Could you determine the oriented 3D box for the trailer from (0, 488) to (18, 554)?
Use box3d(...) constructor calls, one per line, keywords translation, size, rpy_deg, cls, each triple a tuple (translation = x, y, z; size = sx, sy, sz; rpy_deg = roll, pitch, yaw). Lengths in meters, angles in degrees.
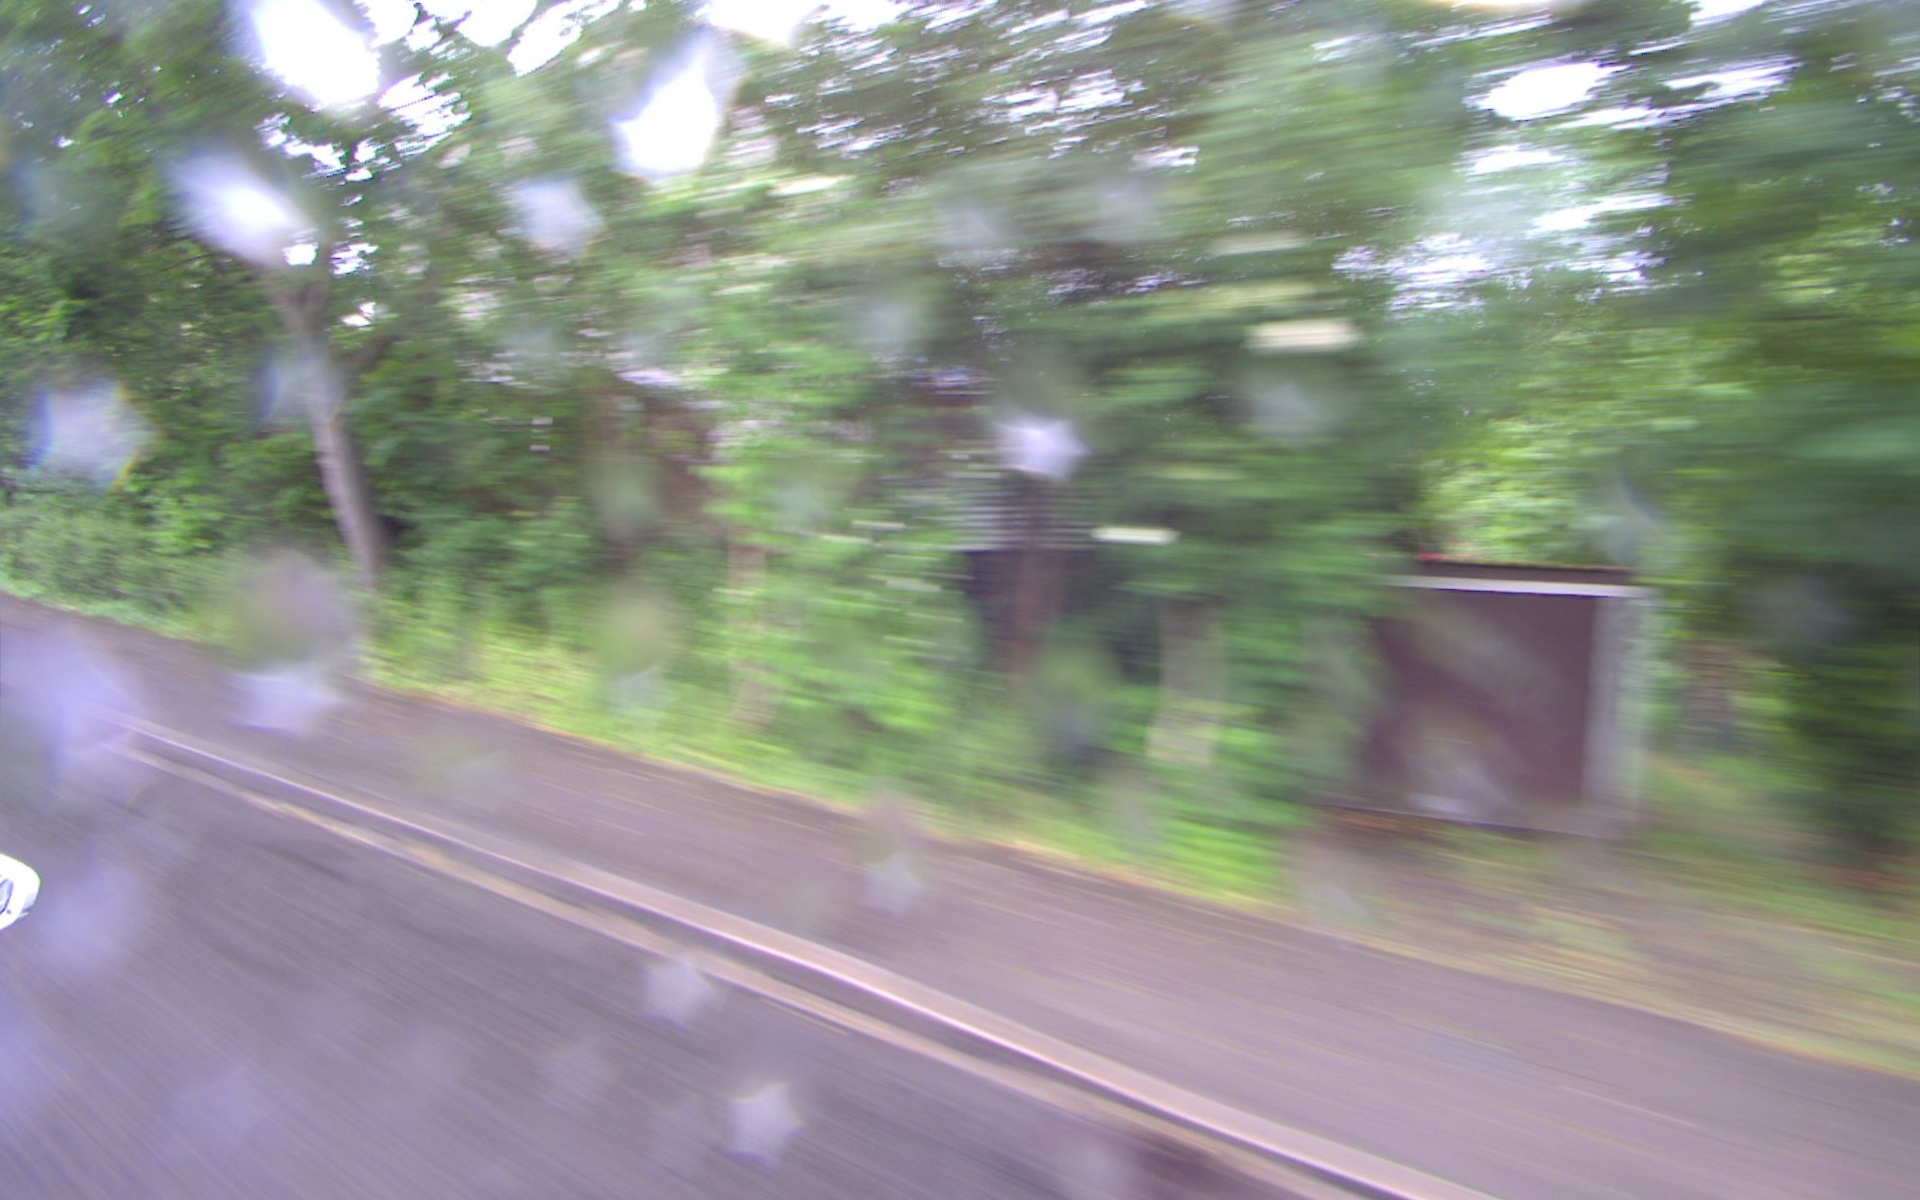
box3d(translation=(-23.151, -2.084, 21.956), size=(1.178, 1.661, 3.366), rpy_deg=(8, -8, 32), cls="trailer")
